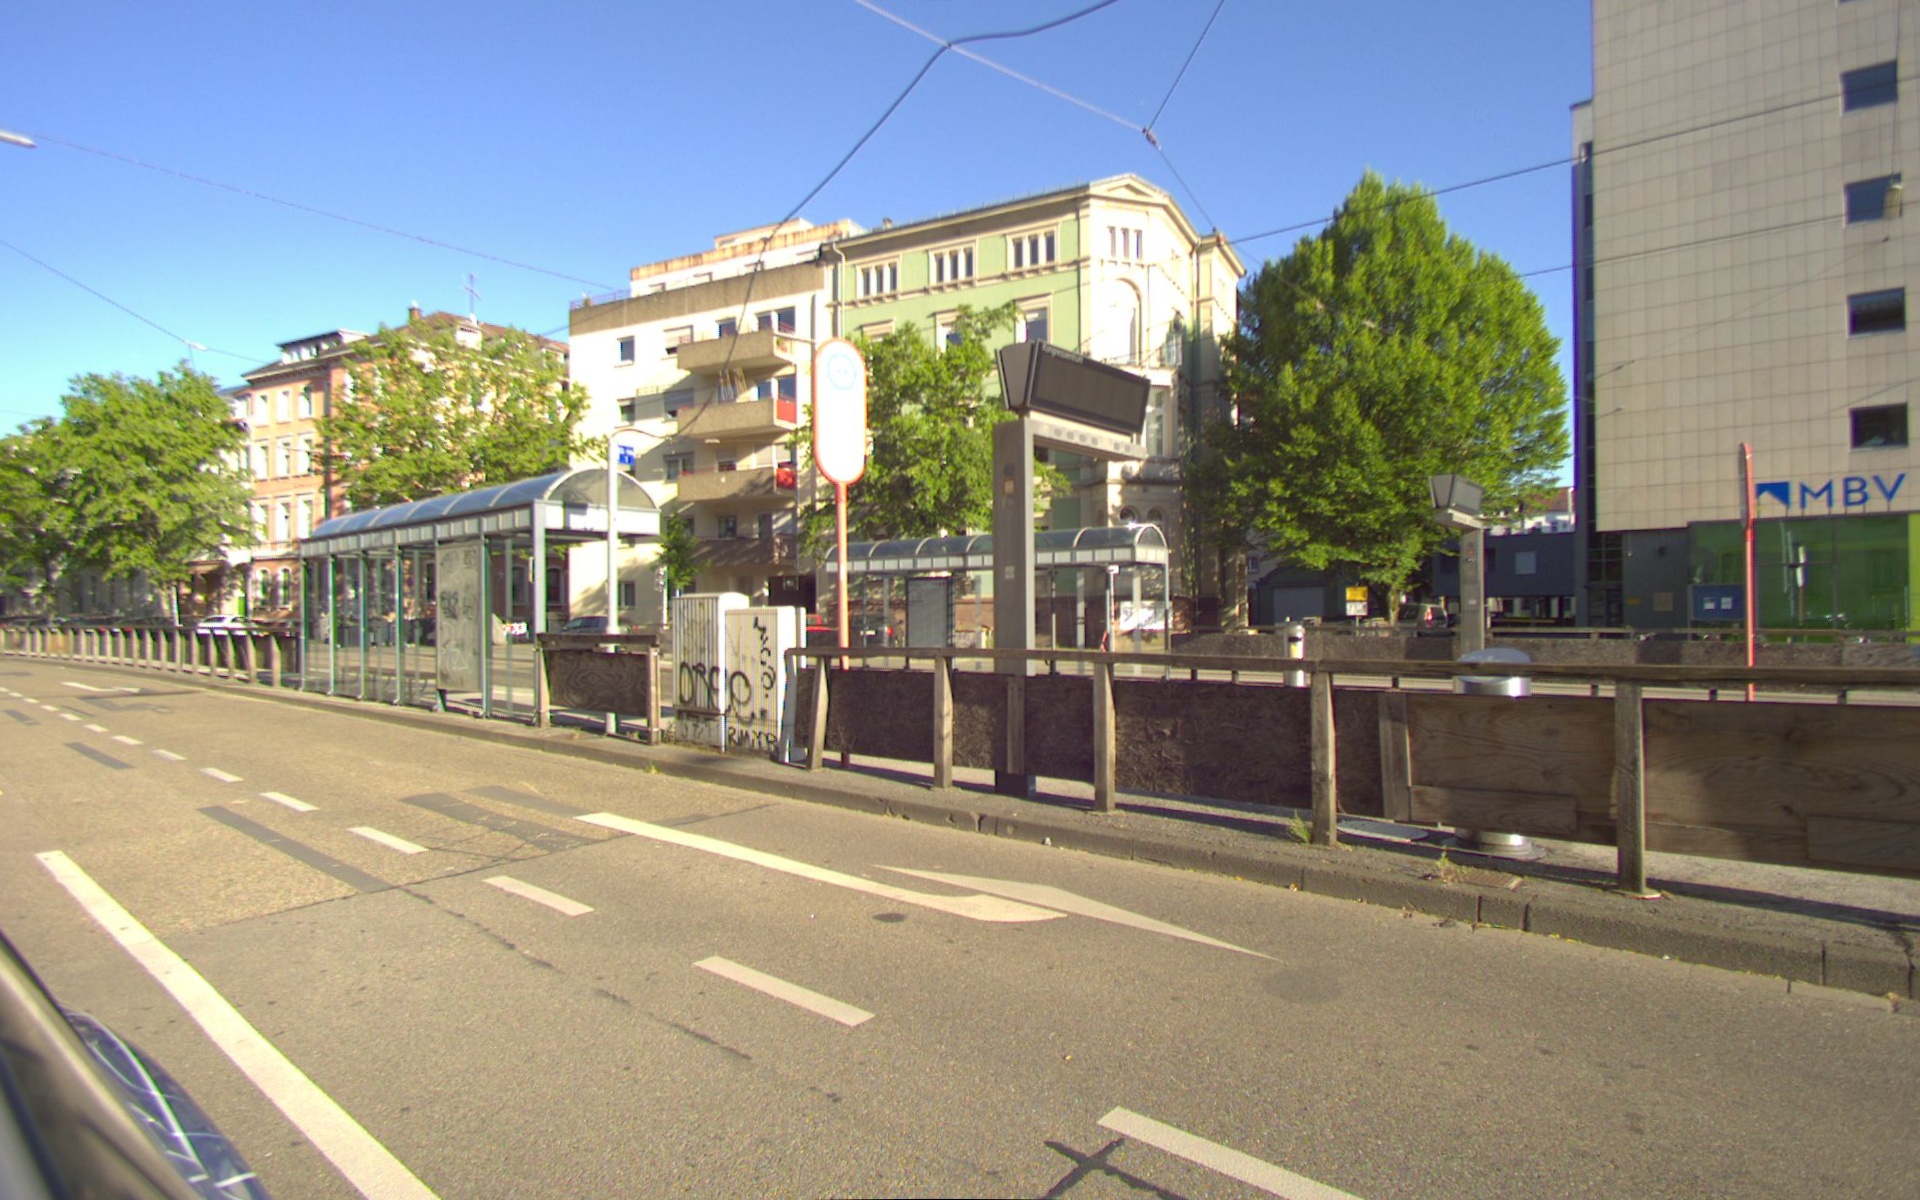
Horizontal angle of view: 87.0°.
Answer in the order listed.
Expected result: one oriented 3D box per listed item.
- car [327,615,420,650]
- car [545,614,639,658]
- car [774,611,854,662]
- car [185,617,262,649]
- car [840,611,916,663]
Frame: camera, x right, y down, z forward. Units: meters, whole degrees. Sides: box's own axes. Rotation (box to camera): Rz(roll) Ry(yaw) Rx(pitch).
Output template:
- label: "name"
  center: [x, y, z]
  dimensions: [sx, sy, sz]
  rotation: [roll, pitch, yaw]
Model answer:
- label: "car"
  center: [-28.399, 1.557, 49.054]
  dimensions: [1.626, 1.579, 3.560]
  rotation: [-1, 0, 33]
- label: "car"
  center: [-14.034, 1.331, 38.517]
  dimensions: [3.592, 1.579, 1.612]
  rotation: [-1, 0, 35]
- label: "car"
  center: [-4.922, 1.213, 34.565]
  dimensions: [1.614, 1.579, 3.588]
  rotation: [-1, 0, 11]
- label: "car"
  center: [-39.399, 1.737, 54.212]
  dimensions: [1.607, 1.579, 3.601]
  rotation: [-1, 0, -2]
- label: "car"
  center: [-2.649, 1.183, 33.369]
  dimensions: [1.614, 1.579, 3.588]
  rotation: [-1, 0, 11]
